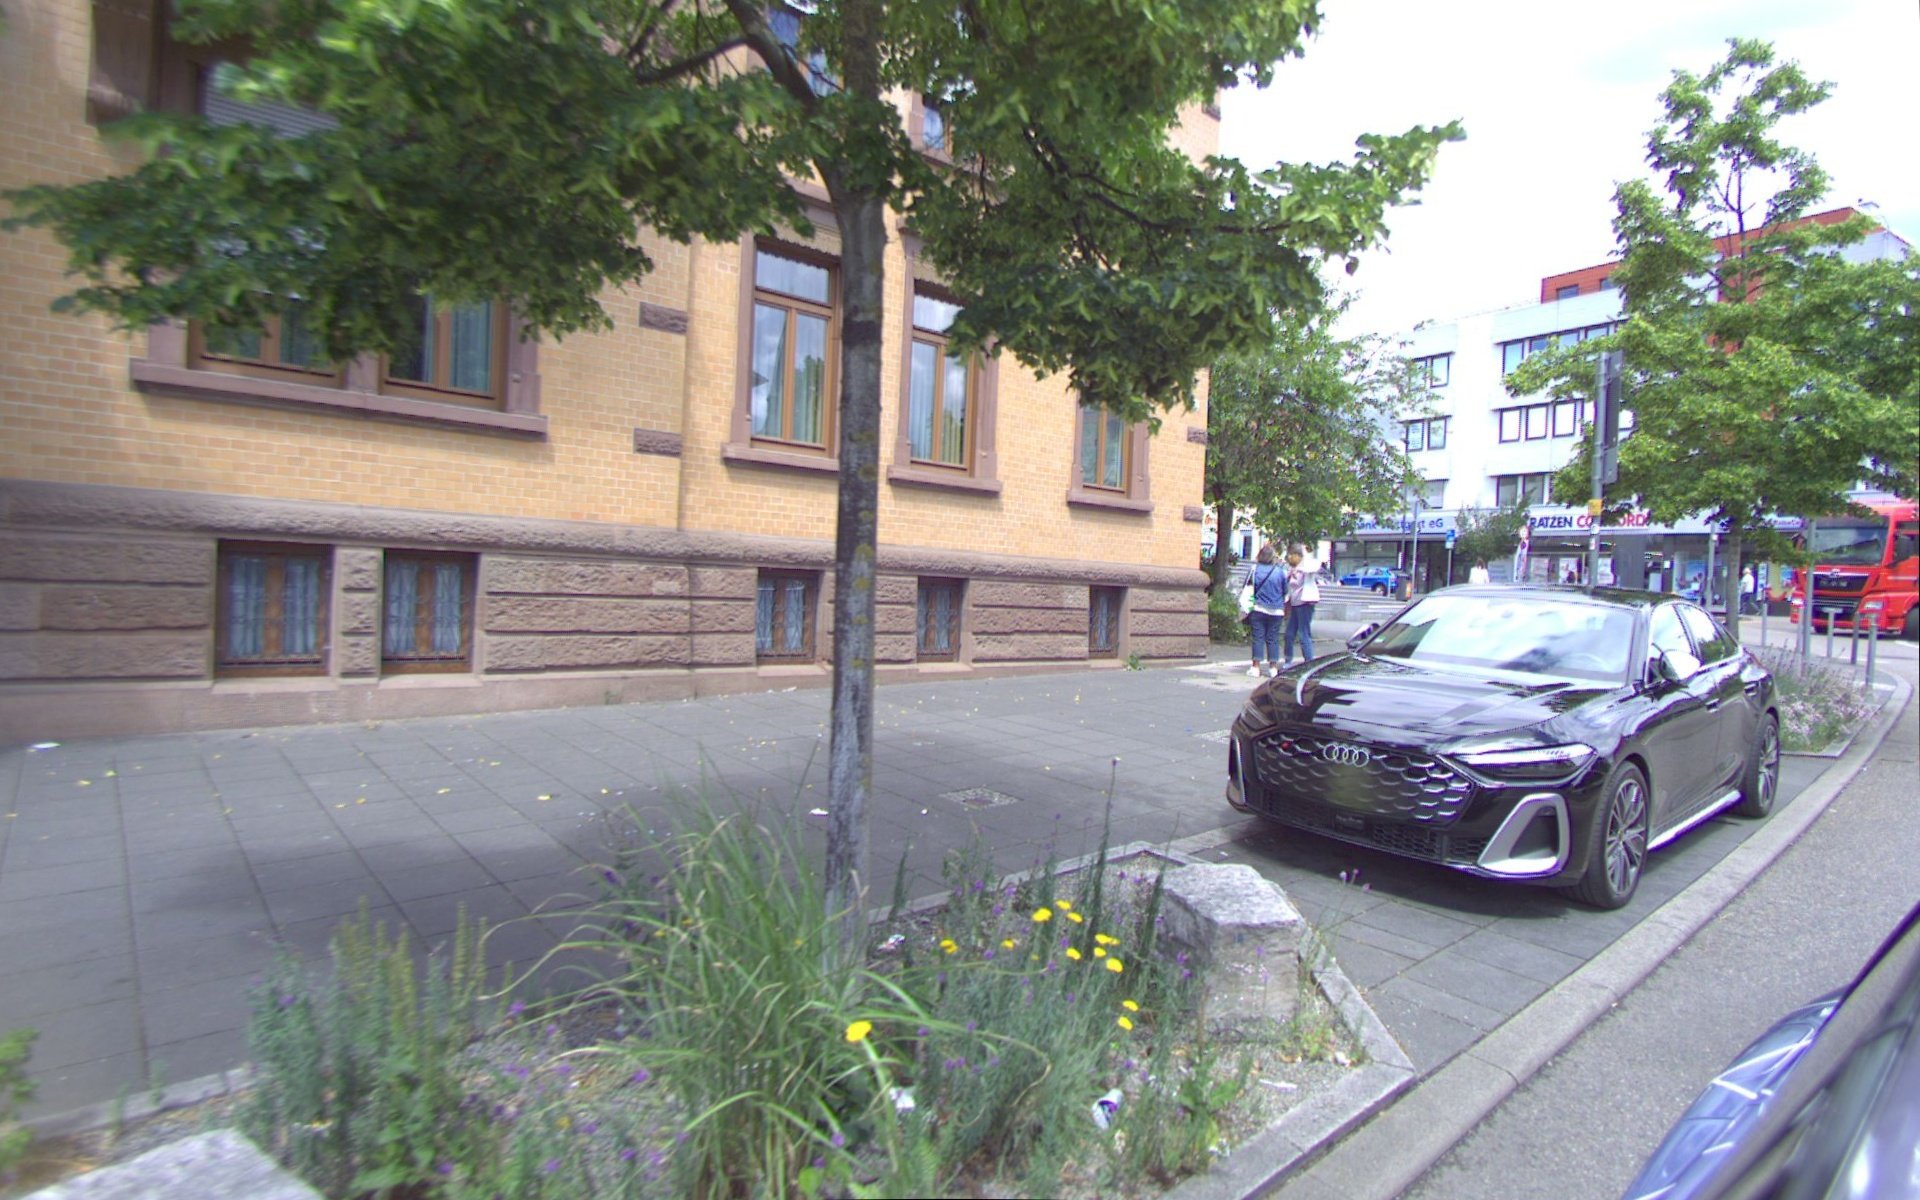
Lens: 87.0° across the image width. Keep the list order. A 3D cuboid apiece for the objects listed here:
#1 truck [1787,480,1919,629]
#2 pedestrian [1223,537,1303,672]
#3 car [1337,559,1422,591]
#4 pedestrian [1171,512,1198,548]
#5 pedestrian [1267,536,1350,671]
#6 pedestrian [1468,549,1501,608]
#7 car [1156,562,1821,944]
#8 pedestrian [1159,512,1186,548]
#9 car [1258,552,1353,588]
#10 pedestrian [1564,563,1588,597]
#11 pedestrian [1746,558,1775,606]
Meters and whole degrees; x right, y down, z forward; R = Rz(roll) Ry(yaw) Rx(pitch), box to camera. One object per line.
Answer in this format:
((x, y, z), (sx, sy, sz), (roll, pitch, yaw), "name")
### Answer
((29.349, -1.273, 29.197), (10.620, 3.890, 2.689), (0, 1, -15), "truck")
((3.826, 0.043, 12.817), (0.661, 1.660, 0.742), (0, 1, -15), "pedestrian")
((21.983, -1.327, 53.205), (1.783, 1.582, 3.836), (-1, 2, -30), "car")
((8.626, -2.700, 38.943), (0.750, 1.341, 0.695), (-1, 2, -35), "pedestrian")
((4.513, 0.031, 13.117), (0.725, 1.678, 0.699), (-1, 1, -29), "pedestrian")
((15.940, -0.661, 30.783), (0.756, 1.752, 0.749), (0, 1, 17), "pedestrian")
((3.471, 0.552, 6.179), (4.653, 1.431, 1.998), (0, 3, -41), "car")
((8.051, -2.636, 38.311), (0.750, 1.341, 0.695), (-1, 2, -35), "pedestrian")
((16.834, -1.434, 49.409), (1.962, 1.671, 4.001), (0, 1, -35), "car")
((29.321, -0.956, 48.153), (0.751, 1.603, 0.686), (-1, 1, -32), "pedestrian")
((32.435, -0.733, 41.026), (0.751, 1.937, 0.686), (-1, 1, -32), "pedestrian")
